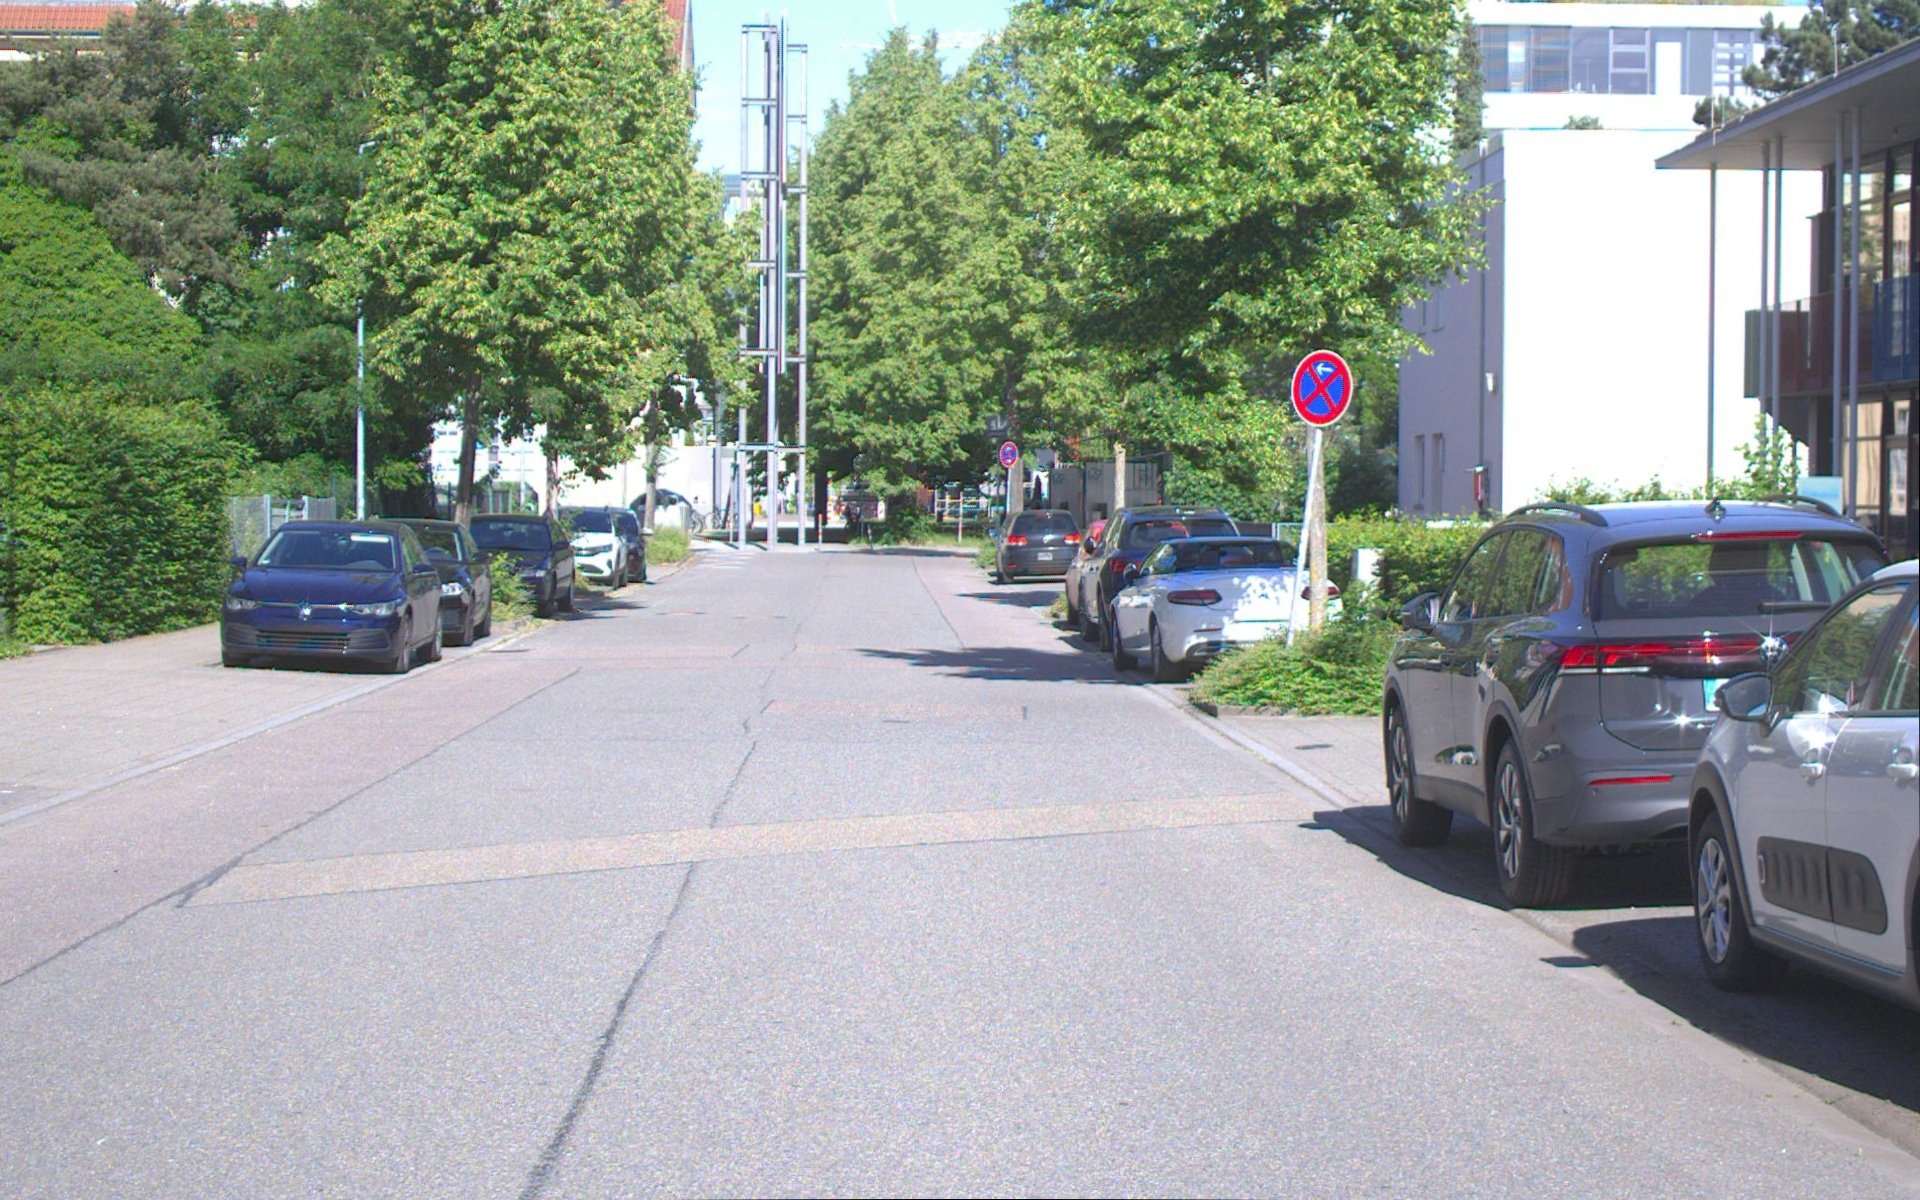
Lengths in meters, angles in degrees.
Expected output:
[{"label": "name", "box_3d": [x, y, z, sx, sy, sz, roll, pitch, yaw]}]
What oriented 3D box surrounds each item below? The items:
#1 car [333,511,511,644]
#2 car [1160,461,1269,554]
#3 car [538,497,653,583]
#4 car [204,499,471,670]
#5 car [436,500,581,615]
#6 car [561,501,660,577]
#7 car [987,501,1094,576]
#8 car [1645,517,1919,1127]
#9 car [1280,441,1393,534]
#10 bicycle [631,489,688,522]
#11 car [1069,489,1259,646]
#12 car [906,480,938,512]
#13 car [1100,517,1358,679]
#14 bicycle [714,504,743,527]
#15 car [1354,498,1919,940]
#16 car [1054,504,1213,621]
[{"label": "car", "box_3d": [-6.353, -0.298, 40.906, 1.630, 1.496, 3.578, 1, 1, -1]}, {"label": "car", "box_3d": [5.654, -2.057, 76.835, 2.024, 2.007, 4.001, 0, 1, -1]}, {"label": "car", "box_3d": [-6.678, -1.121, 63.286, 1.777, 1.525, 4.001, 0, 1, -1]}, {"label": "car", "box_3d": [-6.170, -0.185, 34.498, 1.762, 1.522, 4.000, 3, 1, 2]}, {"label": "car", "box_3d": [-6.566, -0.638, 50.311, 1.694, 1.599, 3.942, 1, 1, -1]}, {"label": "car", "box_3d": [-6.939, -1.232, 68.452, 1.700, 1.465, 3.462, 0, 1, -1]}, {"label": "car", "box_3d": [1.617, -1.275, 70.177, 1.993, 1.481, 4.001, 0, 1, -1]}, {"label": "car", "box_3d": [3.320, 0.565, 10.196, 1.679, 1.536, 3.849, 1, 2, -2]}, {"label": "car", "box_3d": [8.382, -2.495, 76.832, 1.993, 2.007, 4.001, 0, 1, -1]}, {"label": "bicycle", "box_3d": [-7.703, -2.427, 88.139, 1.467, 0.839, 0.336, 0, 2, -5]}, {"label": "car", "box_3d": [2.371, -0.417, 40.934, 1.821, 1.713, 4.120, -2, 1, -2]}, {"label": "car", "box_3d": [-2.443, -6.700, 220.550, 1.993, 2.006, 4.001, 1, 2, -1]}, {"label": "car", "box_3d": [2.569, -0.052, 33.772, 1.829, 1.417, 4.234, -2, 1, -5]}, {"label": "bicycle", "box_3d": [-7.269, -2.652, 108.055, 0.373, 0.681, 1.080, -1, 3, -38]}, {"label": "car", "box_3d": [2.966, 0.399, 15.316, 1.725, 1.646, 4.327, -2, 2, -2]}, {"label": "car", "box_3d": [2.327, -0.530, 47.012, 1.834, 1.510, 3.881, 1, 1, -2]}]
